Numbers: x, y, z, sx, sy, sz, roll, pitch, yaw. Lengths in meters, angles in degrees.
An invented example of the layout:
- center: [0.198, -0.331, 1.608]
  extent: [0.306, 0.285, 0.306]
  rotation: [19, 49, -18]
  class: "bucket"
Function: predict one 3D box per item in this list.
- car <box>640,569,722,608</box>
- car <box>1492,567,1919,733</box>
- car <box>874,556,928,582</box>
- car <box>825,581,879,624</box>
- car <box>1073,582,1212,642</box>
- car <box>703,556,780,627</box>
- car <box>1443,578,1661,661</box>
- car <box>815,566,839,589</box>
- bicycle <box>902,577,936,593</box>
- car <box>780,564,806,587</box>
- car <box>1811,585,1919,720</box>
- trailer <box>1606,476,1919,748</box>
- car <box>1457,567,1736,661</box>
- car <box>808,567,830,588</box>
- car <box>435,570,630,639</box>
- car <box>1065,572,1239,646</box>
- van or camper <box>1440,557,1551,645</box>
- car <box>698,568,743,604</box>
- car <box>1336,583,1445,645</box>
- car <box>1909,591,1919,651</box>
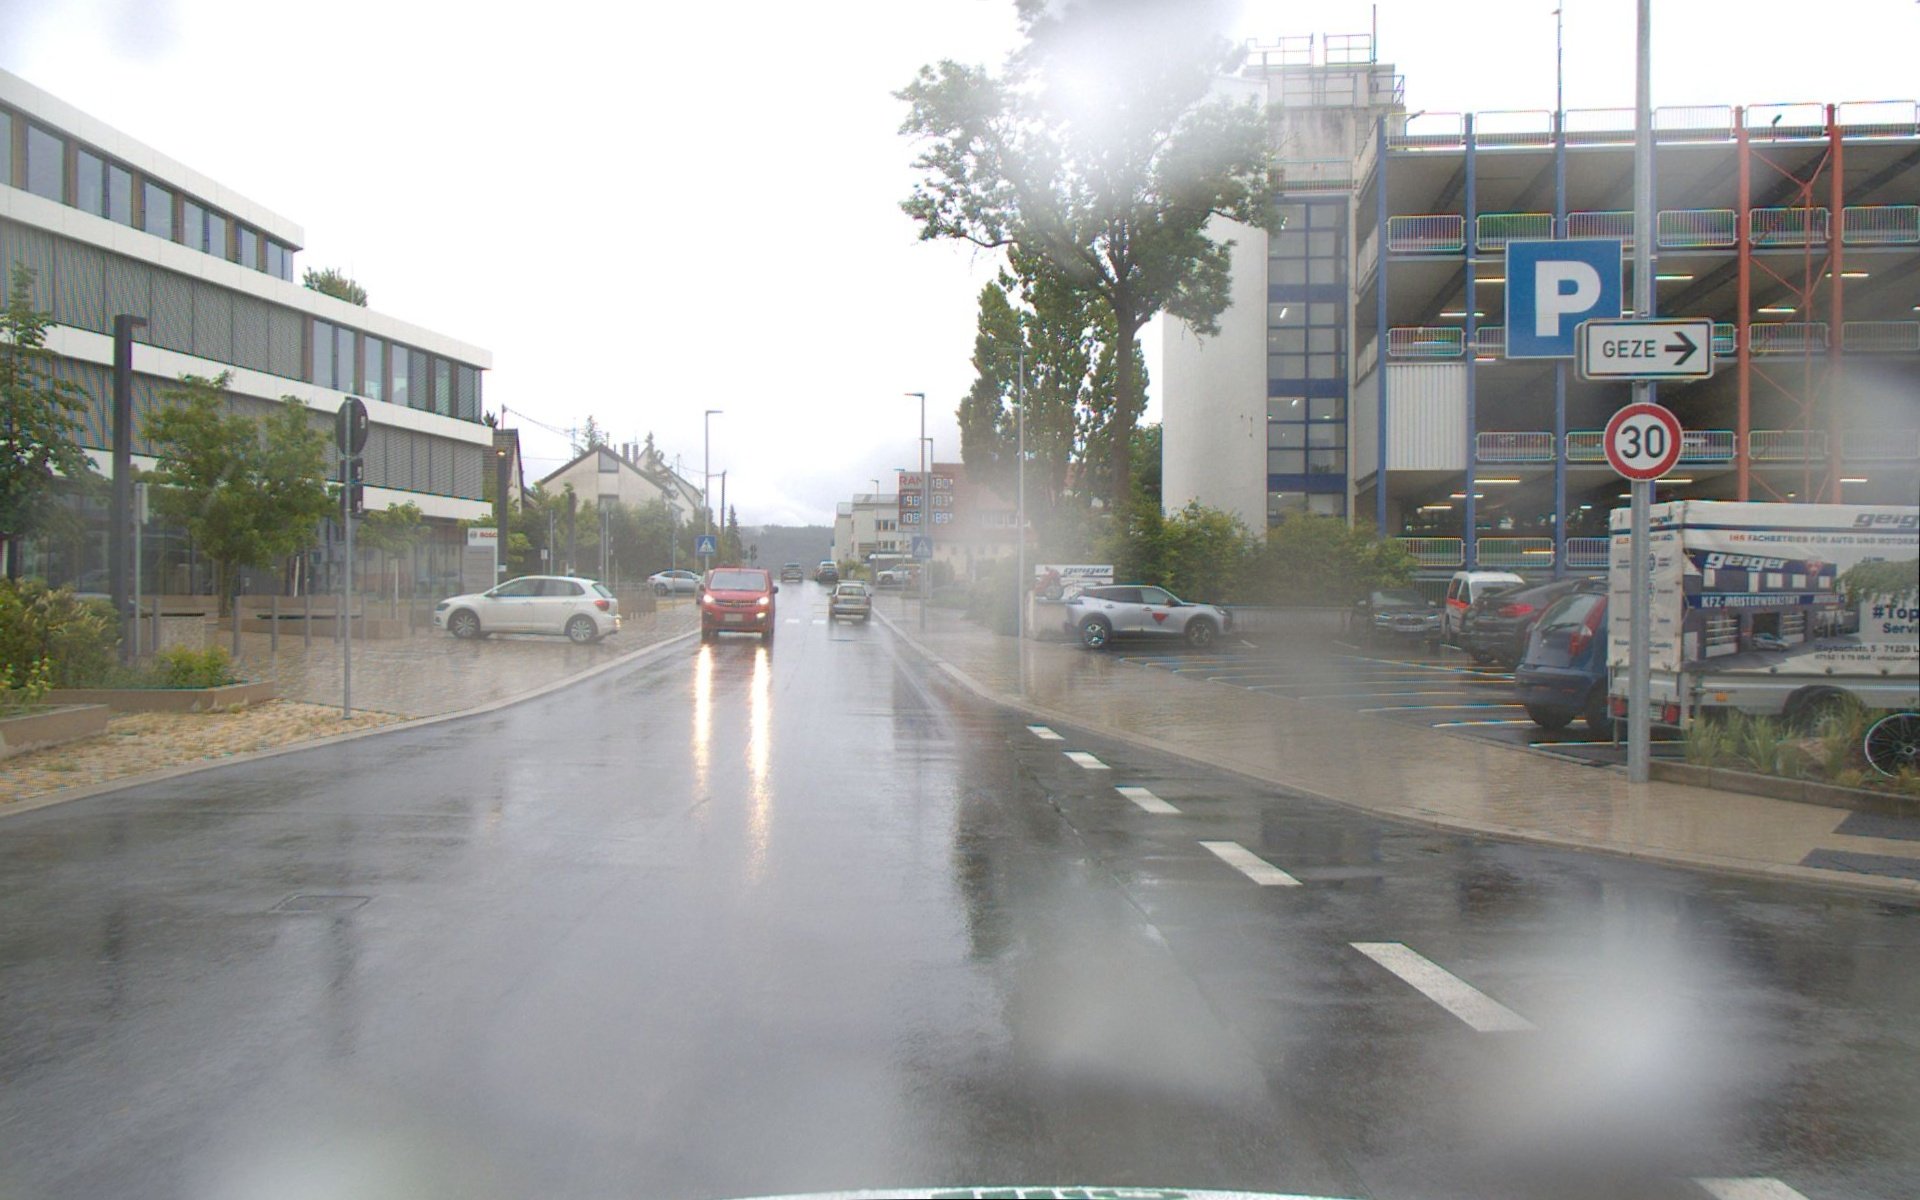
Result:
- center: [-17.420, -0.725, 103.403]
  extent: [4.658, 2.049, 1.999]
  rotation: [4, -2, -2]
  class: "car"
- center: [7.541, 0.487, 16.881]
  extent: [3.653, 1.555, 1.648]
  rotation: [-1, -1, -5]
  class: "car"
- center: [-4.702, -2.451, 131.925]
  extent: [4.036, 1.735, 1.785]
  rotation: [4, -2, -8]
  class: "car"
- center: [-4.483, 0.143, 68.203]
  extent: [1.912, 1.583, 3.993]
  rotation: [4, -1, -7]
  class: "car"
- center: [4.749, 0.299, 43.412]
  extent: [3.545, 1.520, 1.807]
  rotation: [0, 0, 4]
  class: "car"
- center: [-6.030, -0.243, 46.105]
  extent: [1.964, 1.849, 4.973]
  rotation: [1, 0, -6]
  class: "car"
- center: [11.401, 0.372, 31.951]
  extent: [3.614, 1.526, 1.640]
  rotation: [1, 0, -5]
  class: "car"
- center: [-11.819, -1.978, 147.123]
  extent: [1.955, 1.735, 3.995]
  rotation: [4, -1, -5]
  class: "car"
- center: [-3.119, -1.120, 125.425]
  extent: [0.663, 1.085, 3.583]
  rotation: [5, -2, -36]
  class: "bicycle"
- center: [-14.843, -2.187, 147.087]
  extent: [2.112, 1.735, 3.995]
  rotation: [4, -1, -5]
  class: "car"
- center: [12.097, 0.578, 19.179]
  extent: [3.656, 1.474, 1.728]
  rotation: [0, 0, -8]
  class: "car"
- center: [7.246, 0.101, 14.342]
  extent: [2.648, 2.209, 1.547]
  rotation: [1, 0, -3]
  class: "trailer"
- center: [11.230, 0.230, 29.336]
  extent: [4.272, 1.586, 1.837]
  rotation: [0, 0, -7]
  class: "car"
- center: [-13.622, -2.163, 160.118]
  extent: [1.955, 1.735, 3.995]
  rotation: [4, -1, -5]
  class: "car"
- center: [-9.390, 0.099, 36.573]
  extent: [3.850, 1.448, 1.897]
  rotation: [1, 0, -4]
  class: "car"
- center: [4.687, 0.218, 40.739]
  extent: [4.118, 1.678, 2.001]
  rotation: [-1, 0, 5]
  class: "car"
- center: [13.396, 0.004, 41.630]
  extent: [1.799, 2.072, 4.465]
  rotation: [1, 0, 7]
  class: "van or camper"
- center: [-11.642, -0.705, 80.619]
  extent: [1.955, 1.657, 4.149]
  rotation: [0, 1, -5]
  class: "car"
- center: [10.767, 0.323, 41.636]
  extent: [1.892, 1.467, 4.209]
  rotation: [1, 0, 4]
  class: "car"
- center: [25.046, 0.542, 40.247]
  extent: [1.852, 1.512, 4.002]
  rotation: [4, -1, 6]
  class: "car"
